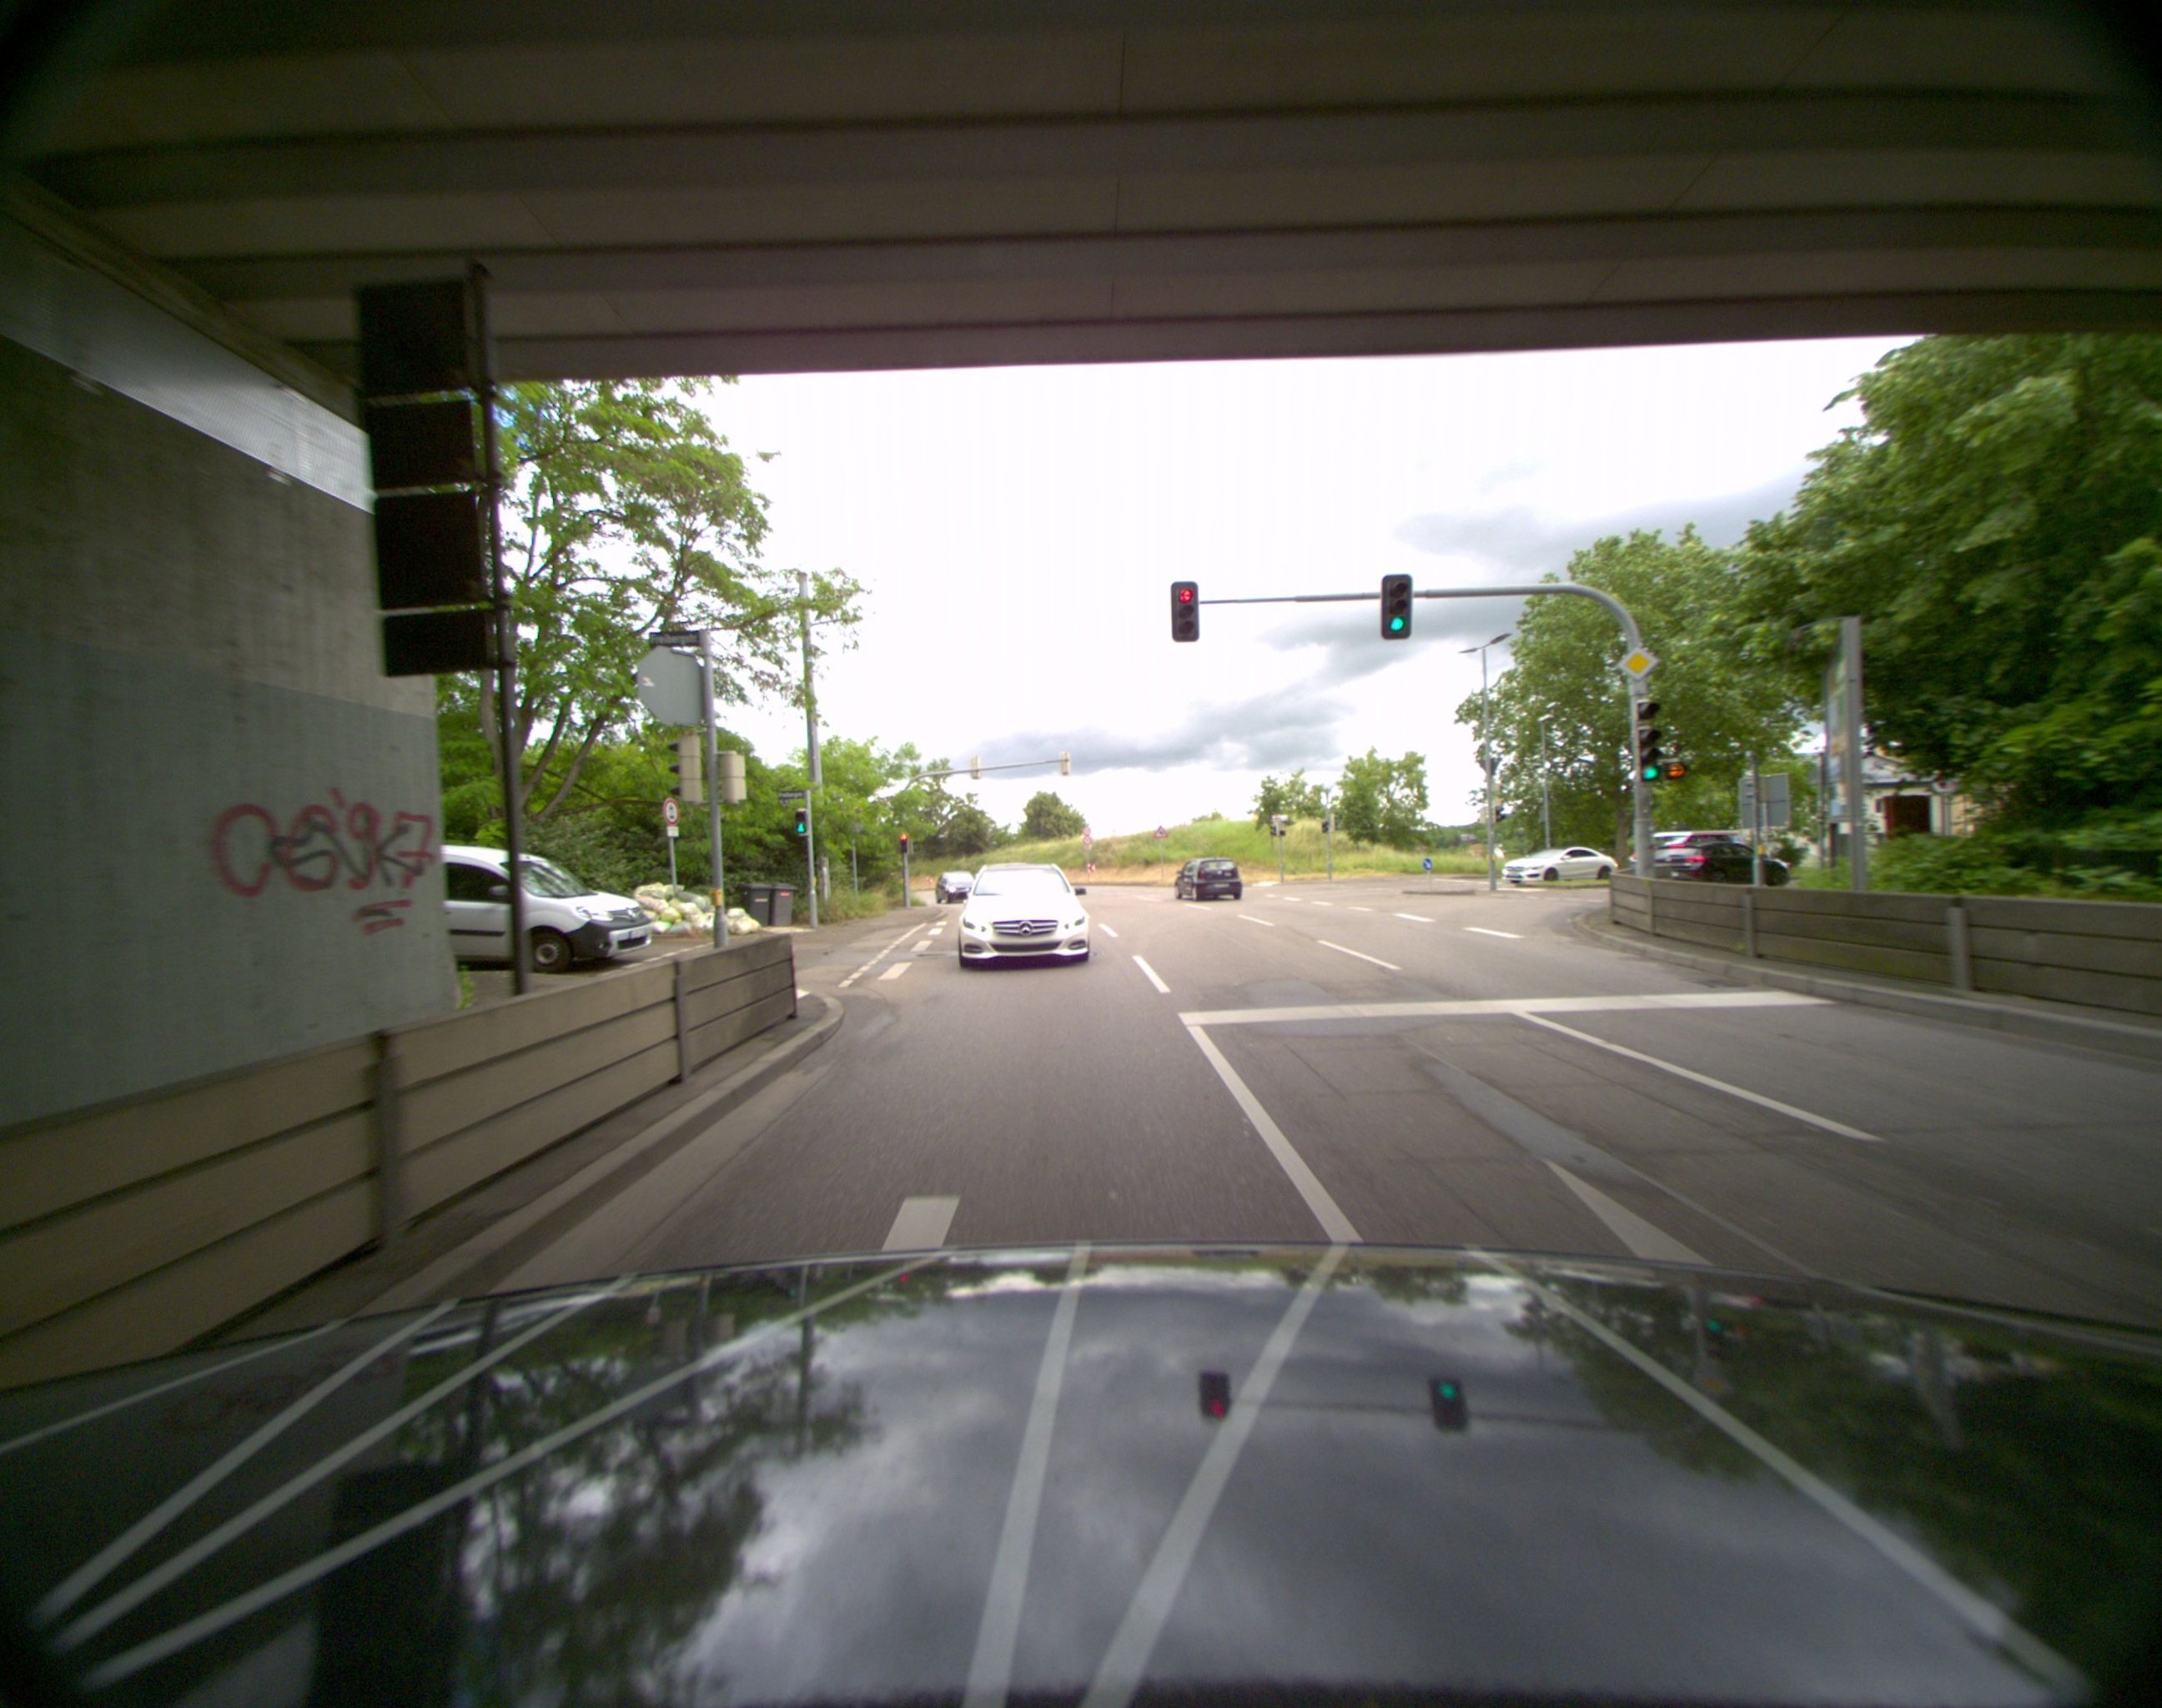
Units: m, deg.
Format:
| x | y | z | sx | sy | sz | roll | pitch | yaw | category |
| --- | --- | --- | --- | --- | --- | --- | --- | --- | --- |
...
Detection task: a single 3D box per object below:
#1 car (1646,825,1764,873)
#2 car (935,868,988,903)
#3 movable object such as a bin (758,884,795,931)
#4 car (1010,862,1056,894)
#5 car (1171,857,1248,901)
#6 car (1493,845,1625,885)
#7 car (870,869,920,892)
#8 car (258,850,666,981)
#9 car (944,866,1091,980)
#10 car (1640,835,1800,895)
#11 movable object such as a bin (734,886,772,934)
| x | y | z | sx | sy | sz | roll | pitch | yaw | category |
| --- | --- | --- | --- | --- | --- | --- | --- | --- | --- |
| 26.323 | -0.208 | 32.068 | 4.041 | 1.802 | 1.853 | -3 | 0 | -17 | car |
| -5.945 | 1.536 | 37.622 | 1.825 | 1.535 | 3.720 | -3 | -1 | -20 | car |
| -7.501 | 1.306 | 18.712 | 0.643 | 1.109 | 0.577 | -3 | 0 | 42 | movable object such as a bin |
| -2.585 | 1.261 | 40.339 | 1.582 | 1.548 | 3.012 | -3 | 0 | -21 | car |
| 4.489 | 0.832 | 27.147 | 1.728 | 1.401 | 3.998 | -2 | 0 | -5 | car |
| 18.886 | 0.390 | 30.042 | 4.422 | 1.331 | 1.997 | -2 | 1 | -17 | car |
| -15.973 | 2.263 | 65.231 | 4.712 | 1.815 | 1.697 | -2 | 1 | 40 | car |
| -9.021 | 0.865 | 11.450 | 4.494 | 1.774 | 1.826 | 1 | 1 | -5 | car |
| -0.922 | 0.958 | 12.172 | 1.888 | 1.414 | 3.999 | -3 | -1 | -2 | car |
| 18.813 | 0.316 | 22.393 | 4.141 | 1.468 | 1.819 | -3 | -1 | -22 | car |
| -7.855 | 1.333 | 18.177 | 0.643 | 1.109 | 0.577 | -3 | 0 | 42 | movable object such as a bin |
